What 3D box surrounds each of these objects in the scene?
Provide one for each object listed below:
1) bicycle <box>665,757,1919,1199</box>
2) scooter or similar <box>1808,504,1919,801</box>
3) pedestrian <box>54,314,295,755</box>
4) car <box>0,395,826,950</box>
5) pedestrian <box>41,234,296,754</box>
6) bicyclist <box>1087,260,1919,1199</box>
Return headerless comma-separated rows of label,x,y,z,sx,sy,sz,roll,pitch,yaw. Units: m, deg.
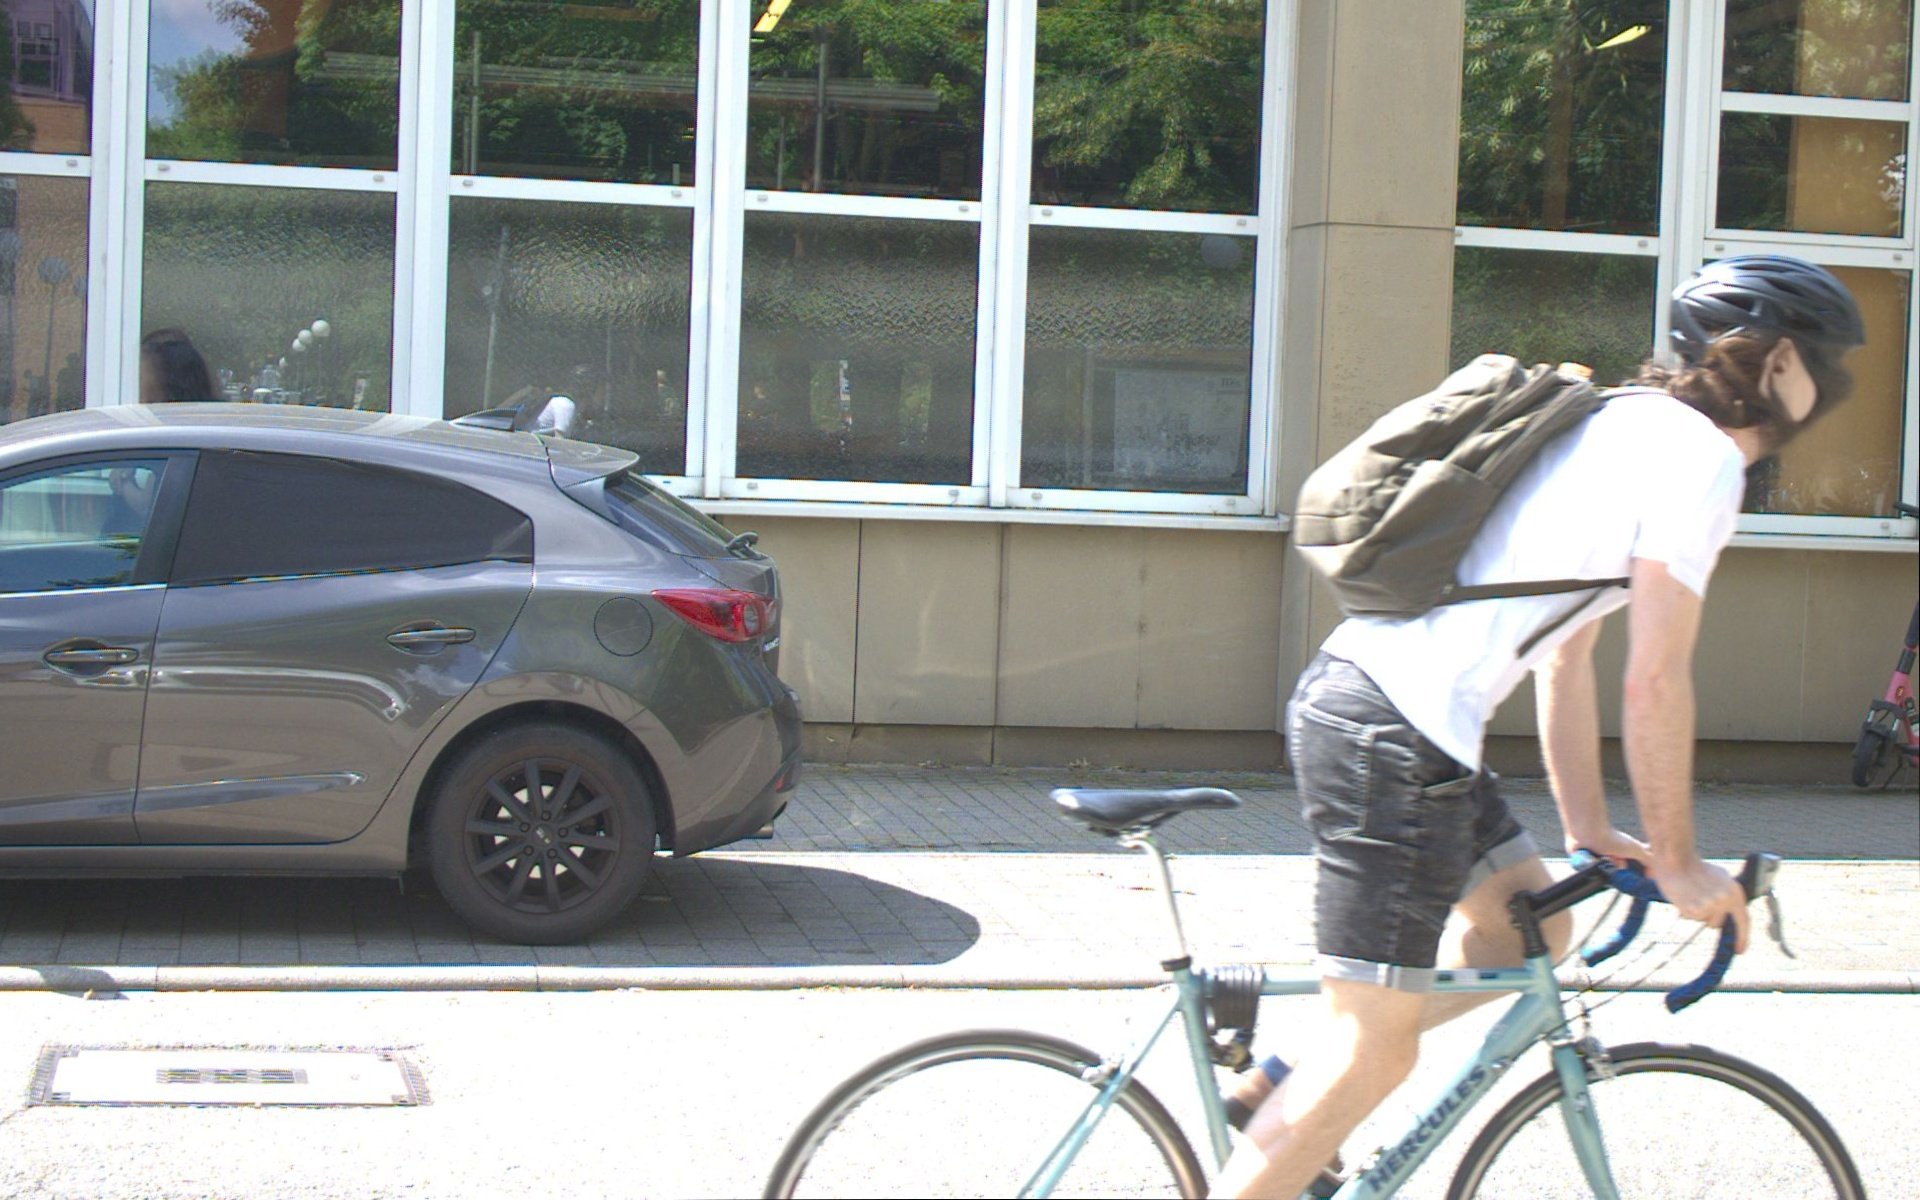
bicycle,0.555,0.789,4.861,1.904,0.989,0.709,2,5,-7
scooter or similar,4.255,0.220,14.434,1.241,1.203,0.384,1,5,-12
pedestrian,-2.842,-0.244,12.471,0.794,1.536,0.664,1,3,-12
car,-2.666,0.151,10.089,4.274,1.430,1.732,1,5,-12
pedestrian,-2.720,-0.364,11.843,0.794,1.722,0.602,1,3,-12
bicyclist,0.803,0.378,4.855,1.091,1.656,0.720,2,5,-7
